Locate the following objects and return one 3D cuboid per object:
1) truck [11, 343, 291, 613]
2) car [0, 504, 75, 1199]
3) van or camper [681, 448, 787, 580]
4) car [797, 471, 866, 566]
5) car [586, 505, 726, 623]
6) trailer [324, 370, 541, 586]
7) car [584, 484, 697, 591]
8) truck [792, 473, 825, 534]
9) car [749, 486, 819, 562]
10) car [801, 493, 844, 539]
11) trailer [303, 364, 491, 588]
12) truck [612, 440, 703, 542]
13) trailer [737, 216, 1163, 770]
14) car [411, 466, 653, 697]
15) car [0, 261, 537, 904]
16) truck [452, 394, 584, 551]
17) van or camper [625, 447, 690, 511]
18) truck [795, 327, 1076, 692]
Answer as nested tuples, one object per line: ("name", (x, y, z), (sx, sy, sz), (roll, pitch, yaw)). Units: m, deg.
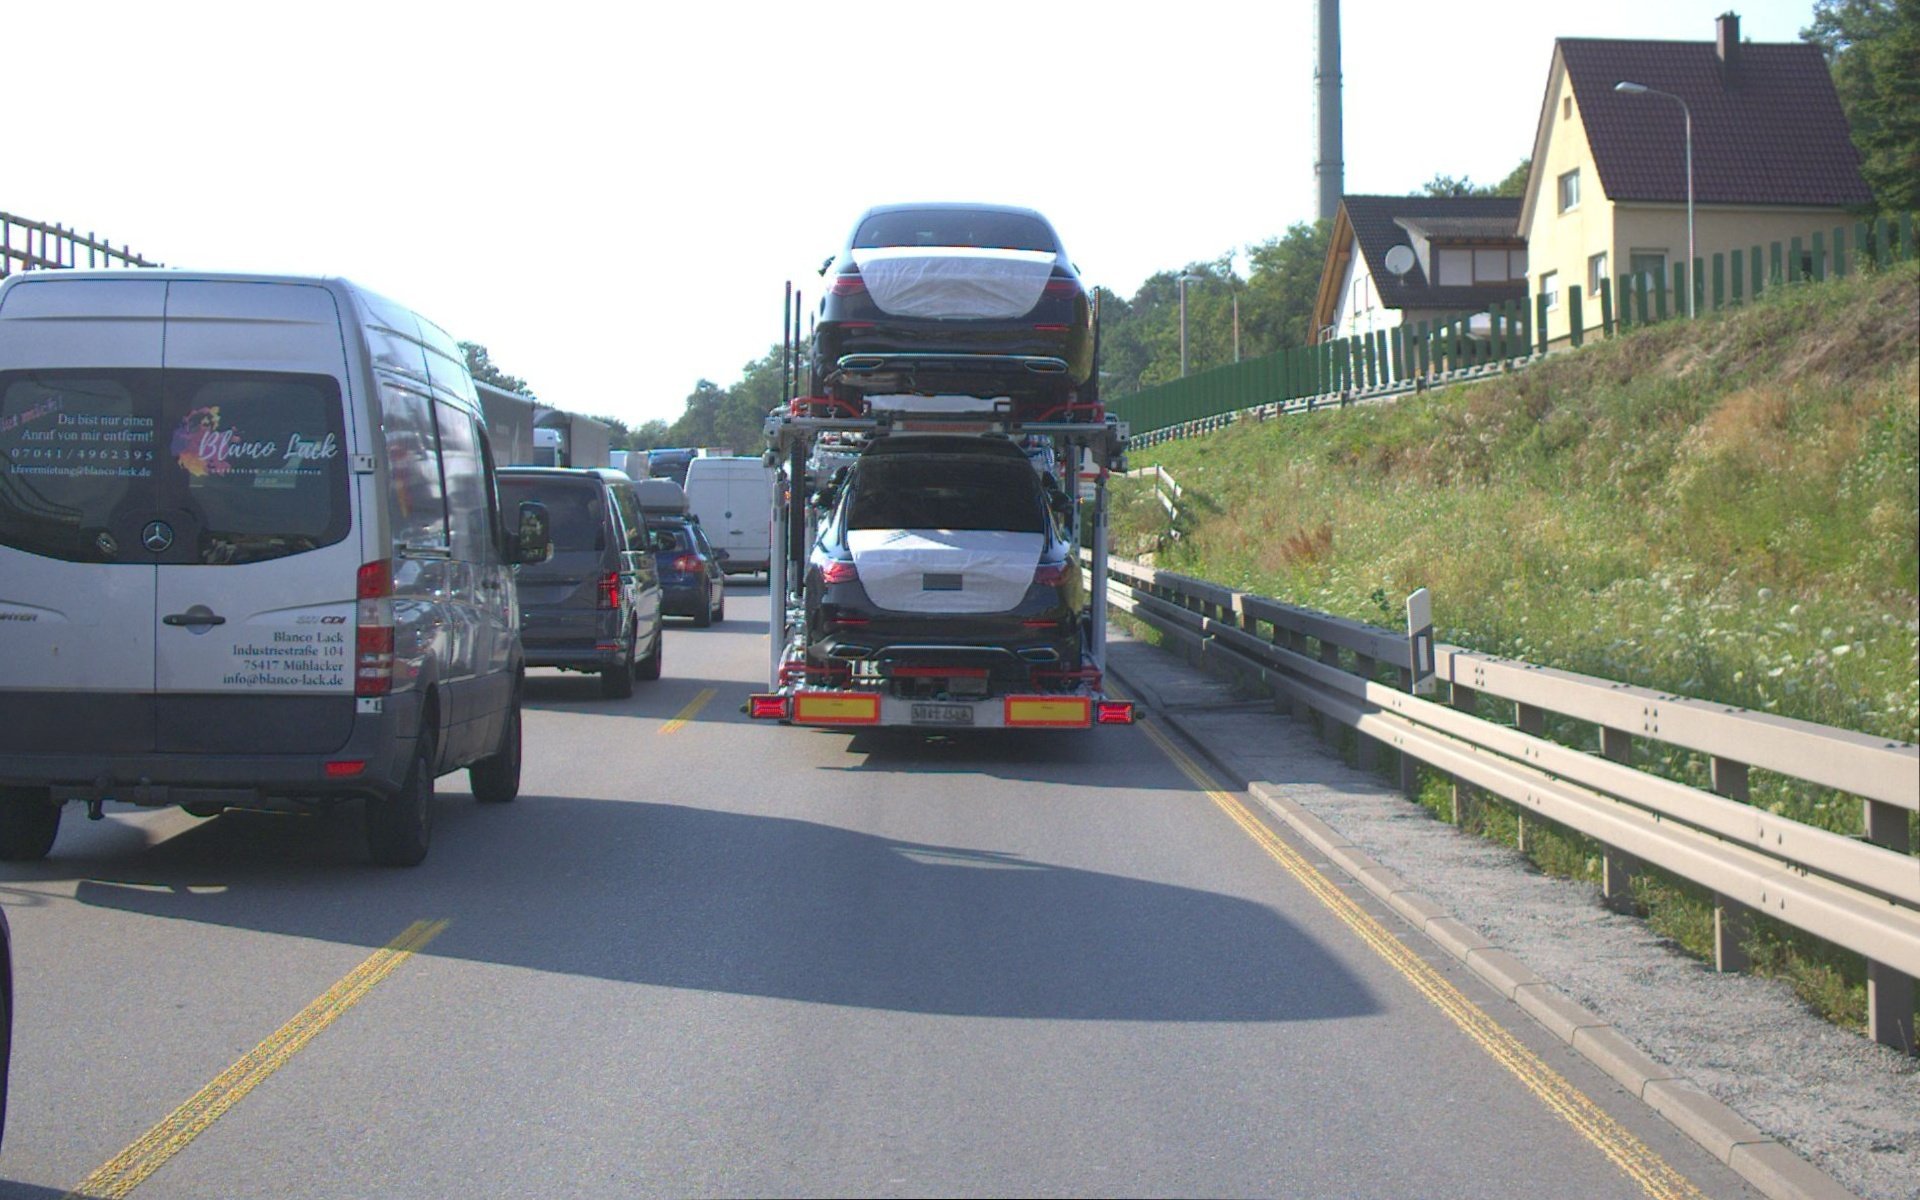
("truck", (-10.834, -1.599, 46.537), (2.548, 3.397, 5.532), (1, 1, -1))
("car", (-2.928, 0.593, 6.126), (1.680, 1.583, 4.272), (0, 1, -1))
("van or camper", (-4.613, -1.740, 70.749), (1.968, 2.582, 5.042), (1, 1, -2))
("car", (-7.078, -4.484, 187.842), (3.444, 5.017, 9.655), (1, 2, -4))
("car", (-4.190, -0.534, 47.839), (1.725, 1.517, 3.974), (1, 2, -2))
("trailer", (-11.094, -2.632, 73.718), (2.764, 4.127, 14.027), (1, 2, -1))
("car", (-7.707, -1.527, 83.379), (2.471, 2.525, 4.001), (0, 1, -2))
("truck", (-11.190, -7.054, 253.006), (2.197, 4.411, 8.233), (0, 1, -4))
("car", (-4.996, -2.181, 97.903), (1.885, 2.092, 3.766), (1, 2, -2))
("car", (-9.168, -5.588, 229.459), (2.770, 2.982, 5.598), (1, 1, -2))
("trailer", (-10.894, -2.415, 67.059), (2.764, 4.127, 5.977), (1, 2, -1))
("truck", (-10.805, -3.856, 123.489), (2.714, 3.412, 8.142), (-2, 1, -2))
("trailer", (-0.171, -0.830, 29.748), (2.682, 3.522, 15.290), (1, 1, -1))
("car", (-3.753, -0.174, 30.734), (1.808, 1.897, 4.000), (1, 1, -3))
("car", (-3.381, -0.160, 16.917), (1.993, 2.639, 5.531), (0, 2, -1))
("truck", (-11.726, -3.331, 91.559), (2.860, 3.994, 5.659), (1, 1, -1))
("van or camper", (-13.051, -5.218, 148.847), (2.312, 2.653, 6.456), (-1, 2, -1))
("truck", (-0.290, -0.950, 37.158), (2.682, 3.522, 7.194), (1, 1, -1))
